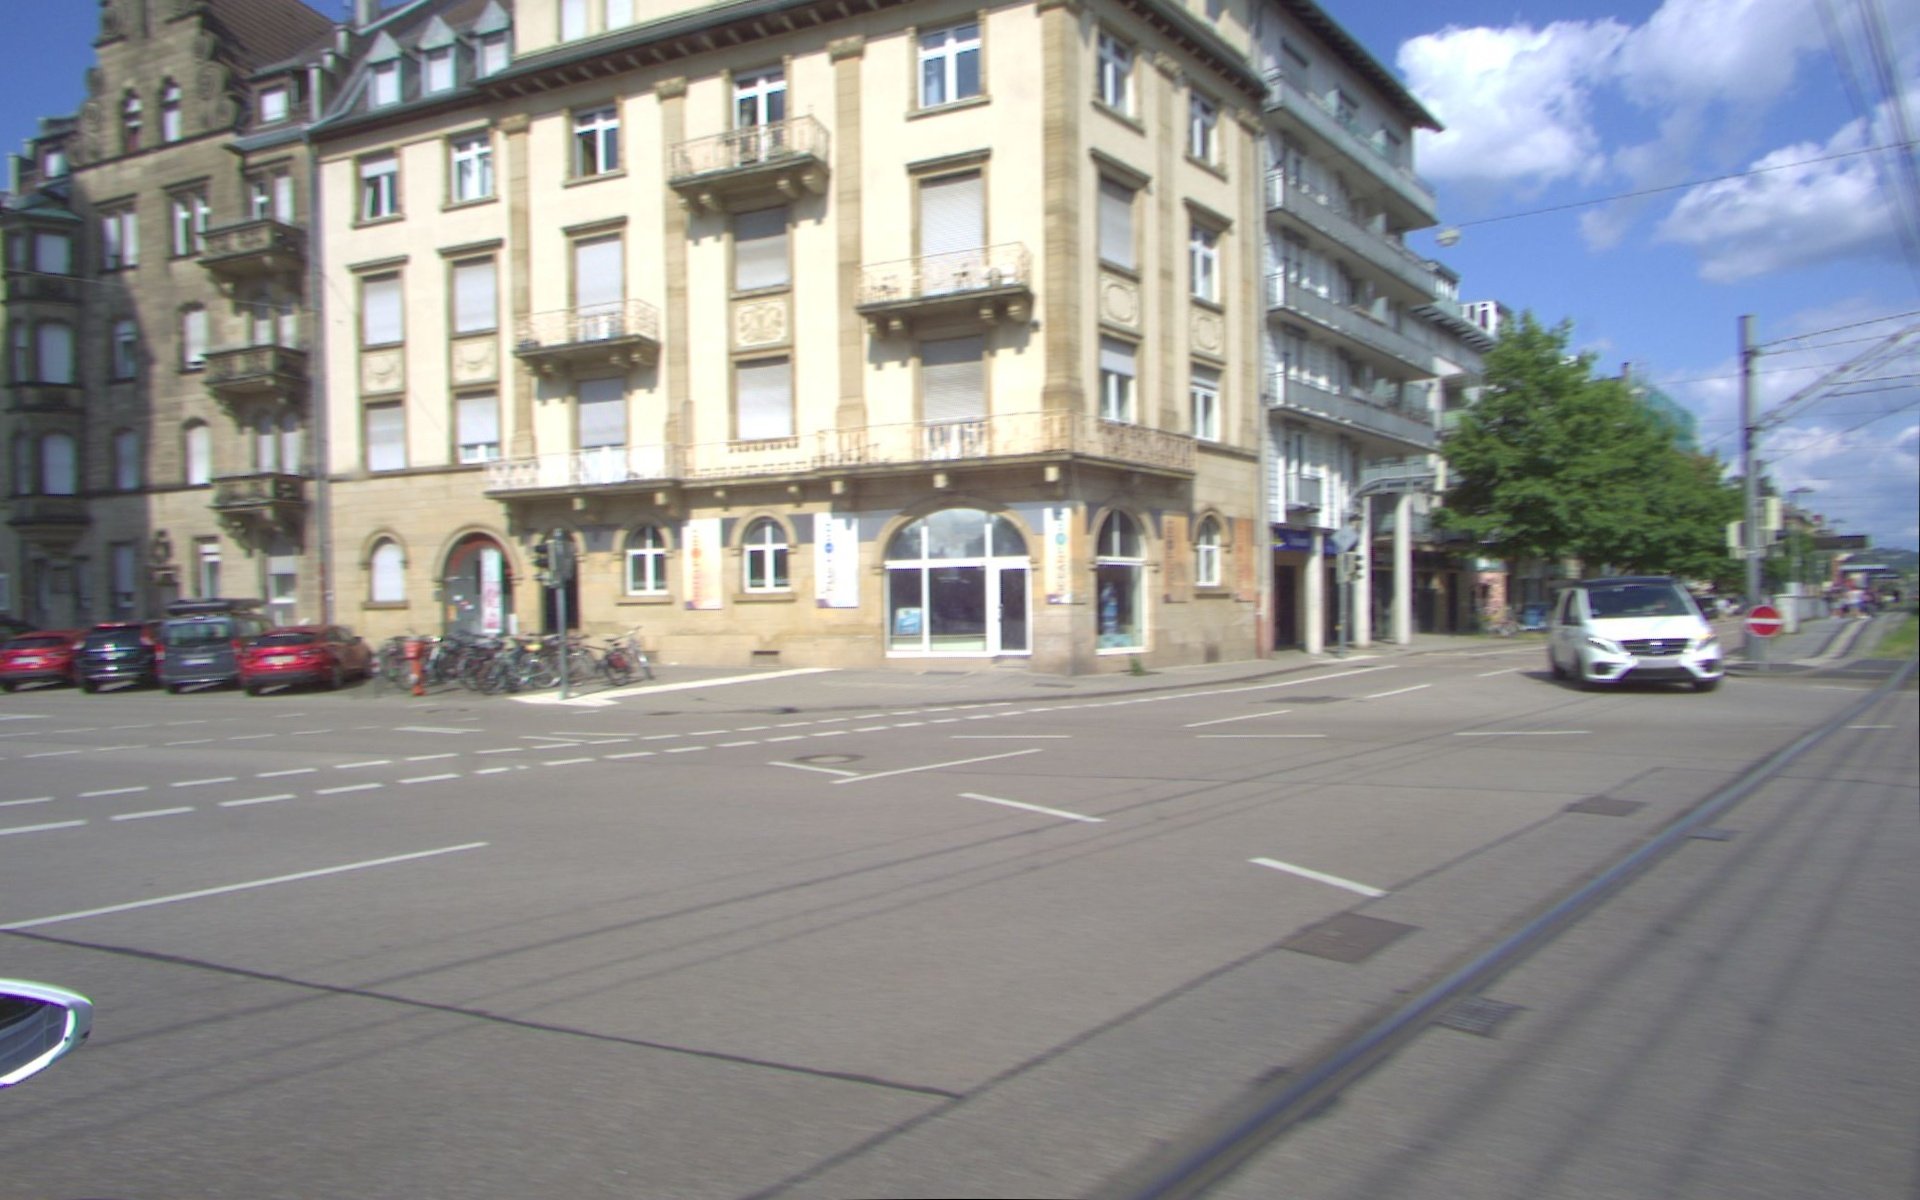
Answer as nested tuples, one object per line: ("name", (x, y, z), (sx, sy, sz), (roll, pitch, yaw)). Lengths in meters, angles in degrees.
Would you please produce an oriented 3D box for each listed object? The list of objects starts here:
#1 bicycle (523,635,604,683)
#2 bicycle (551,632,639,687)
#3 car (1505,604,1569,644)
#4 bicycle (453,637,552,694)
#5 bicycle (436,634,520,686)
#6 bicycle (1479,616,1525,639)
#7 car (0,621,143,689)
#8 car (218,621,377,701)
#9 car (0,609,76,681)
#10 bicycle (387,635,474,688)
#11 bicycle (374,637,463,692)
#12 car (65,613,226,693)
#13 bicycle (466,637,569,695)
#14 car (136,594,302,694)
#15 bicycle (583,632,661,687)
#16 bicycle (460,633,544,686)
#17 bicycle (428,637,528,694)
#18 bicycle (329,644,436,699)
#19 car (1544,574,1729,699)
("bicycle", (-9.174, 1.351, 23.157), (1.896, 1.032, 0.538), (-1, 3, 24))
("bicycle", (-8.008, 1.287, 22.062), (0.600, 1.032, 1.868), (0, 2, 28))
("car", (28.195, 1.117, 48.879), (1.832, 1.814, 3.964), (2, 2, 43))
("bicycle", (-9.847, 1.387, 21.625), (0.533, 1.032, 1.917), (0, 2, 33))
("bicycle", (-11.176, 1.379, 23.299), (0.531, 1.032, 1.924), (-1, 2, 19))
("bicycle", (23.376, 1.190, 43.210), (1.676, 0.999, 0.493), (-1, 0, 43))
("car", (-23.820, 1.395, 26.748), (1.884, 1.464, 3.987), (-2, 2, -22))
("car", (-15.274, 1.331, 23.355), (1.933, 1.461, 3.991), (-2, 2, -16))
("car", (-27.101, 1.279, 27.870), (1.881, 1.850, 3.994), (-2, 2, -11))
("bicycle", (-12.334, 1.412, 23.395), (0.531, 1.032, 1.924), (-1, 2, 19))
("bicycle", (-12.050, 1.415, 22.348), (0.530, 1.032, 1.925), (-1, 2, 15))
("car", (-20.560, 1.261, 25.495), (1.680, 1.691, 3.991), (-2, 2, -16))
("bicycle", (-9.293, 1.365, 21.079), (1.858, 1.032, 0.596), (-3, 3, -45))
("car", (-18.068, 0.981, 24.674), (1.933, 2.111, 3.991), (-2, 2, -17))
("bicycle", (-7.306, 1.270, 21.729), (0.599, 1.032, 1.873), (-1, 2, 16))
("bicycle", (-10.528, 1.346, 23.092), (0.531, 1.032, 1.924), (-1, 2, 19))
("bicycle", (-10.430, 1.400, 21.737), (0.533, 1.032, 1.916), (0, 3, 33))
("bicycle", (-11.938, 1.470, 20.720), (1.891, 1.032, 0.540), (-2, 3, 3))
("car", (12.032, 0.617, 18.192), (1.968, 1.916, 5.155), (-1, -1, 25))
